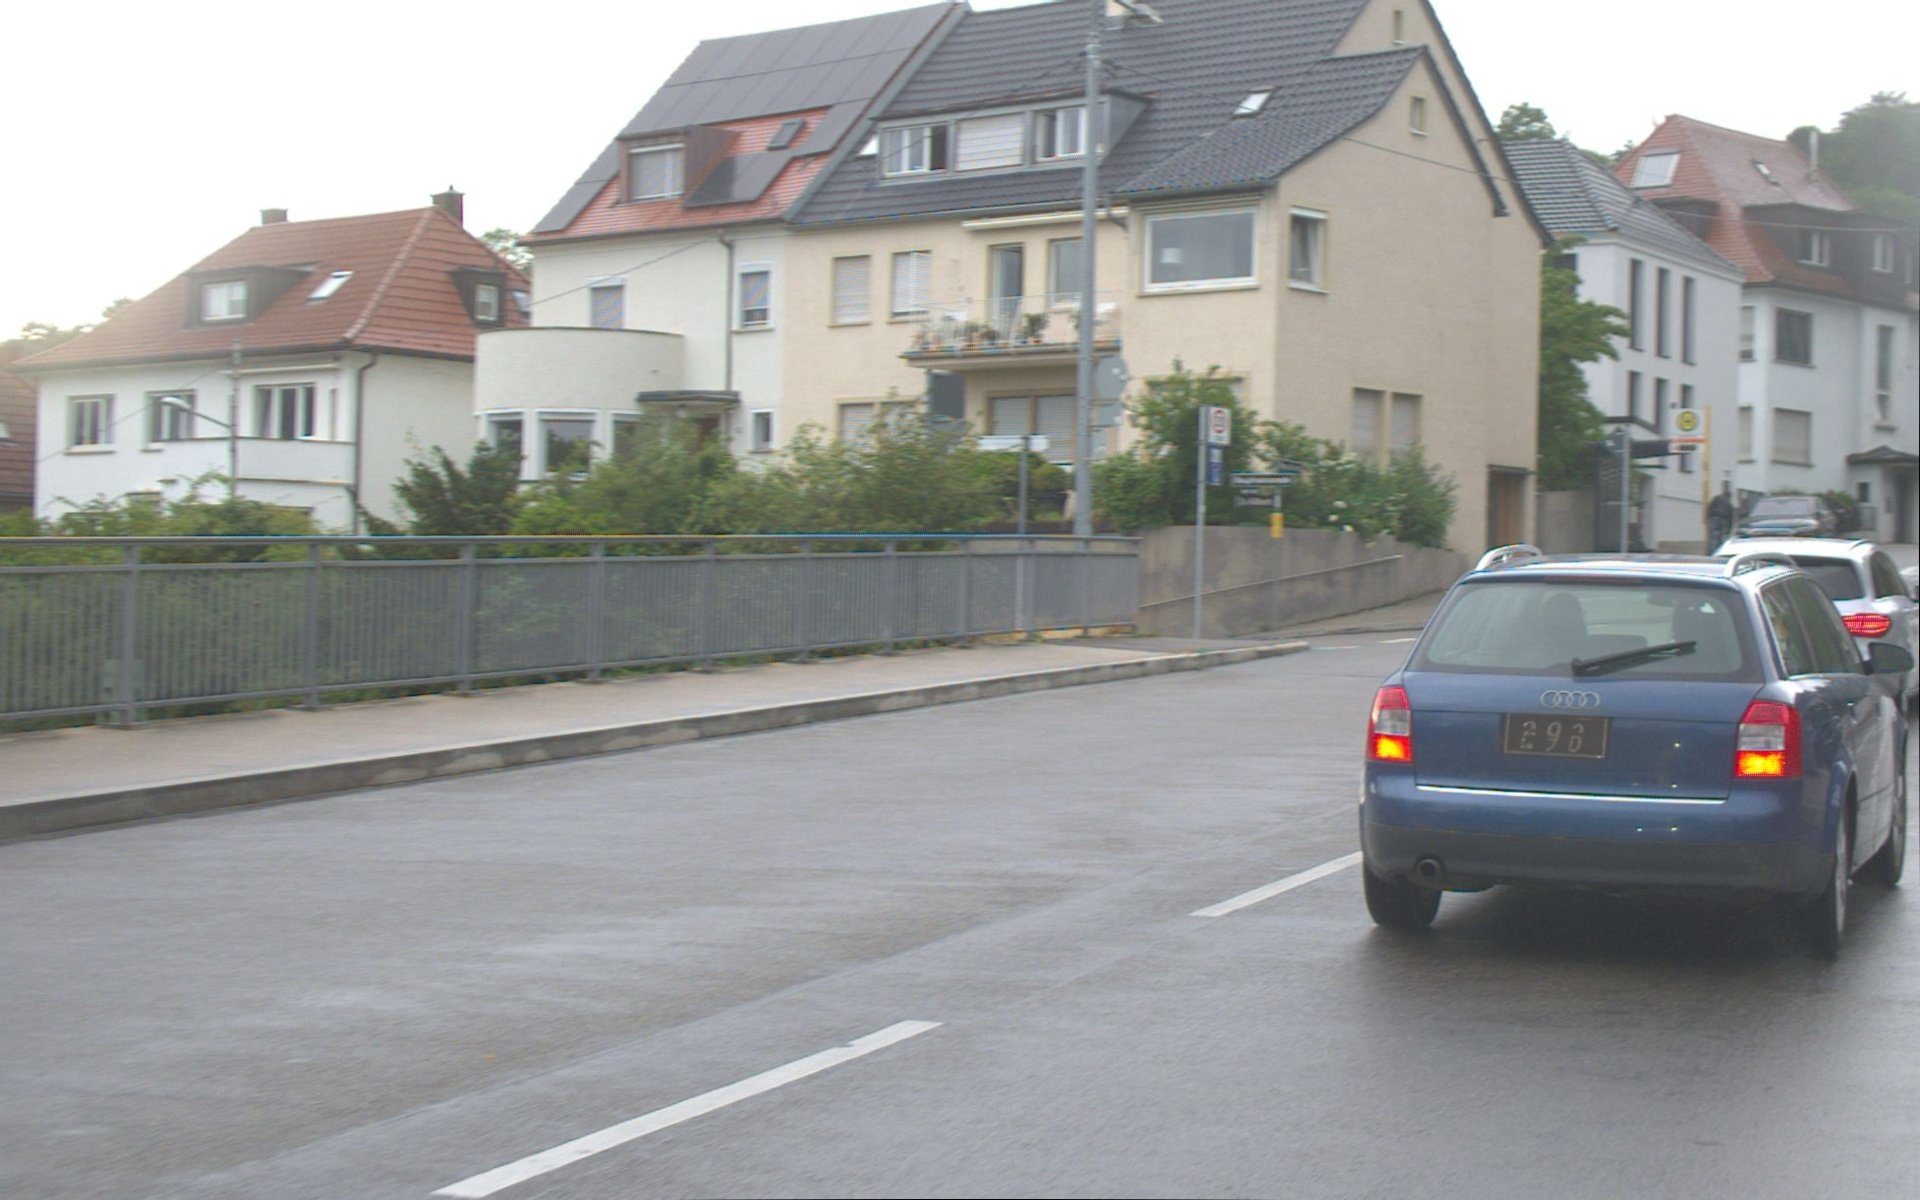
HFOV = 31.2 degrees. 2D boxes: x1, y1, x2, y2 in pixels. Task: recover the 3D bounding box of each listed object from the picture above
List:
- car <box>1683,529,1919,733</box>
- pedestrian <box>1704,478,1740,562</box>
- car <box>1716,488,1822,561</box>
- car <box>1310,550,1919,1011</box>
[{"bbox_3d":[6.845,0.213,26.991,1.892,1.384,3.997,4,1,17],"label":"car"},{"bbox_3d":[15.684,-1.652,70.726,0.658,1.685,0.581,-2,3,13],"label":"pedestrian"},{"bbox_3d":[19.288,-1.779,81.878,1.995,1.702,3.996,0,1,20],"label":"car"},{"bbox_3d":[2.726,0.567,13.538,1.749,1.402,3.996,3,2,19],"label":"car"}]
